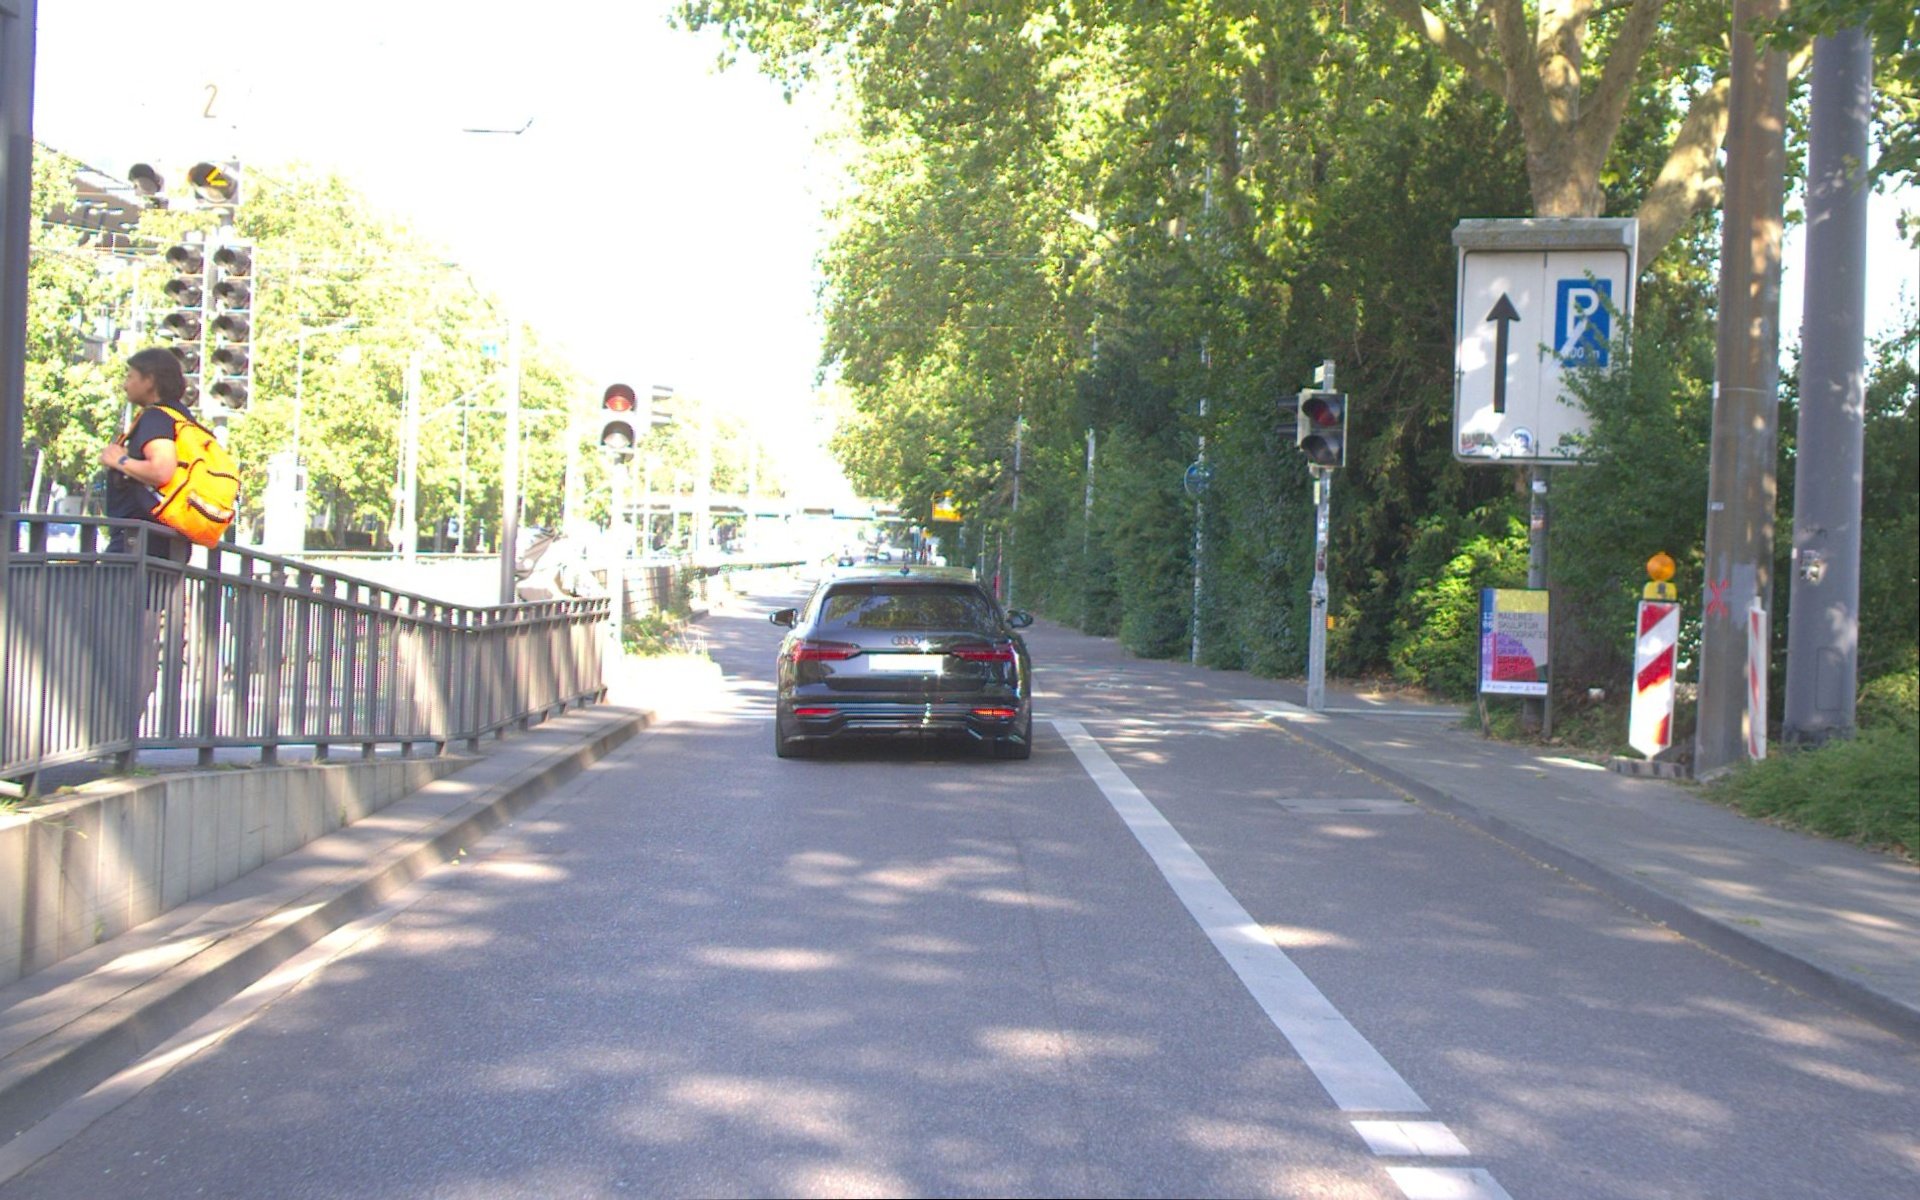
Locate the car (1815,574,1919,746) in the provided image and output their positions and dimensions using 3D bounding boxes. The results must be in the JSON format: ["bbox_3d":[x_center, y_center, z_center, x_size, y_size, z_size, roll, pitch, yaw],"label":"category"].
[{"bbox_3d":[9.633,0.574,30.532,3.594,1.457,1.678,2,1,0],"label":"car"}]

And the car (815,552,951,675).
[{"bbox_3d":[-1.149,0.162,49.629,1.762,1.614,4.001,2,1,-3],"label":"car"}]

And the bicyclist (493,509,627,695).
[{"bbox_3d":[-3.789,0.017,32.561,0.907,1.711,0.770,2,1,-45],"label":"bicyclist"}]

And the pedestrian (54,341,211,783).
[{"bbox_3d":[-3.300,-0.153,13.747,0.412,1.711,0.666,2,1,-1],"label":"pedestrian"}]

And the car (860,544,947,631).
[{"bbox_3d":[-1.382,-0.329,83.875,1.993,2.007,4.000,2,1,-1],"label":"car"}]

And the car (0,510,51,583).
[{"bbox_3d":[-21.384,-1.208,75.589,1.739,1.542,4.000,3,0,-2],"label":"car"}]

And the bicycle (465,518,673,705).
[{"bbox_3d":[-3.704,0.122,32.675,0.591,1.711,1.968,3,1,44],"label":"bicycle"}]

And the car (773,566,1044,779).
[{"bbox_3d":[-0.450,0.498,25.945,1.878,1.452,3.357,0,1,-3],"label":"car"}]
